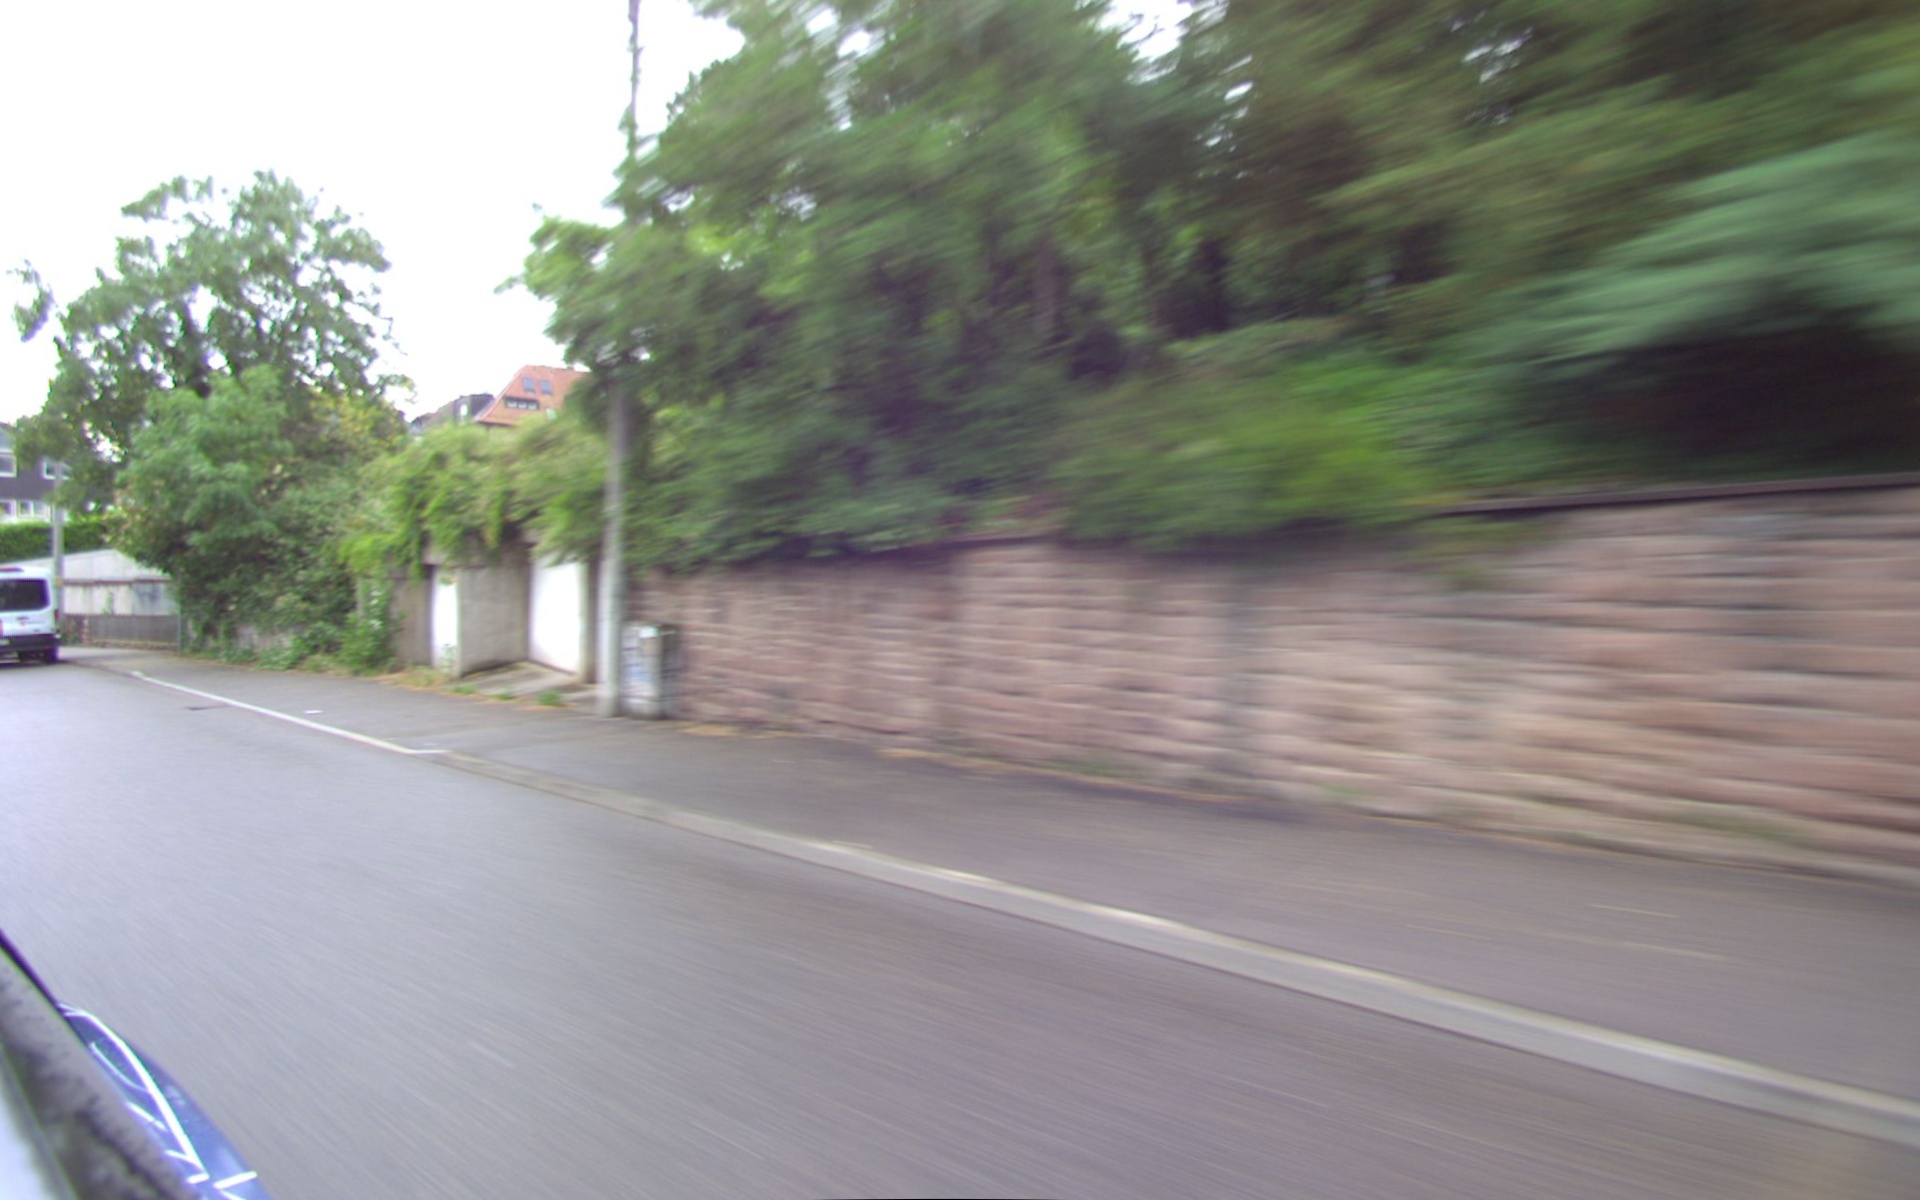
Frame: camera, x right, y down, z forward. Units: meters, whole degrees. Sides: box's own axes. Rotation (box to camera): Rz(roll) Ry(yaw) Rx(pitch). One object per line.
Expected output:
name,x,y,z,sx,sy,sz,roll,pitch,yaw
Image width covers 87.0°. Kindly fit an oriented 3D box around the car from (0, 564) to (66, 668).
car,-26.071,0.431,27.164,6.090,2.569,2.074,-1,2,39
